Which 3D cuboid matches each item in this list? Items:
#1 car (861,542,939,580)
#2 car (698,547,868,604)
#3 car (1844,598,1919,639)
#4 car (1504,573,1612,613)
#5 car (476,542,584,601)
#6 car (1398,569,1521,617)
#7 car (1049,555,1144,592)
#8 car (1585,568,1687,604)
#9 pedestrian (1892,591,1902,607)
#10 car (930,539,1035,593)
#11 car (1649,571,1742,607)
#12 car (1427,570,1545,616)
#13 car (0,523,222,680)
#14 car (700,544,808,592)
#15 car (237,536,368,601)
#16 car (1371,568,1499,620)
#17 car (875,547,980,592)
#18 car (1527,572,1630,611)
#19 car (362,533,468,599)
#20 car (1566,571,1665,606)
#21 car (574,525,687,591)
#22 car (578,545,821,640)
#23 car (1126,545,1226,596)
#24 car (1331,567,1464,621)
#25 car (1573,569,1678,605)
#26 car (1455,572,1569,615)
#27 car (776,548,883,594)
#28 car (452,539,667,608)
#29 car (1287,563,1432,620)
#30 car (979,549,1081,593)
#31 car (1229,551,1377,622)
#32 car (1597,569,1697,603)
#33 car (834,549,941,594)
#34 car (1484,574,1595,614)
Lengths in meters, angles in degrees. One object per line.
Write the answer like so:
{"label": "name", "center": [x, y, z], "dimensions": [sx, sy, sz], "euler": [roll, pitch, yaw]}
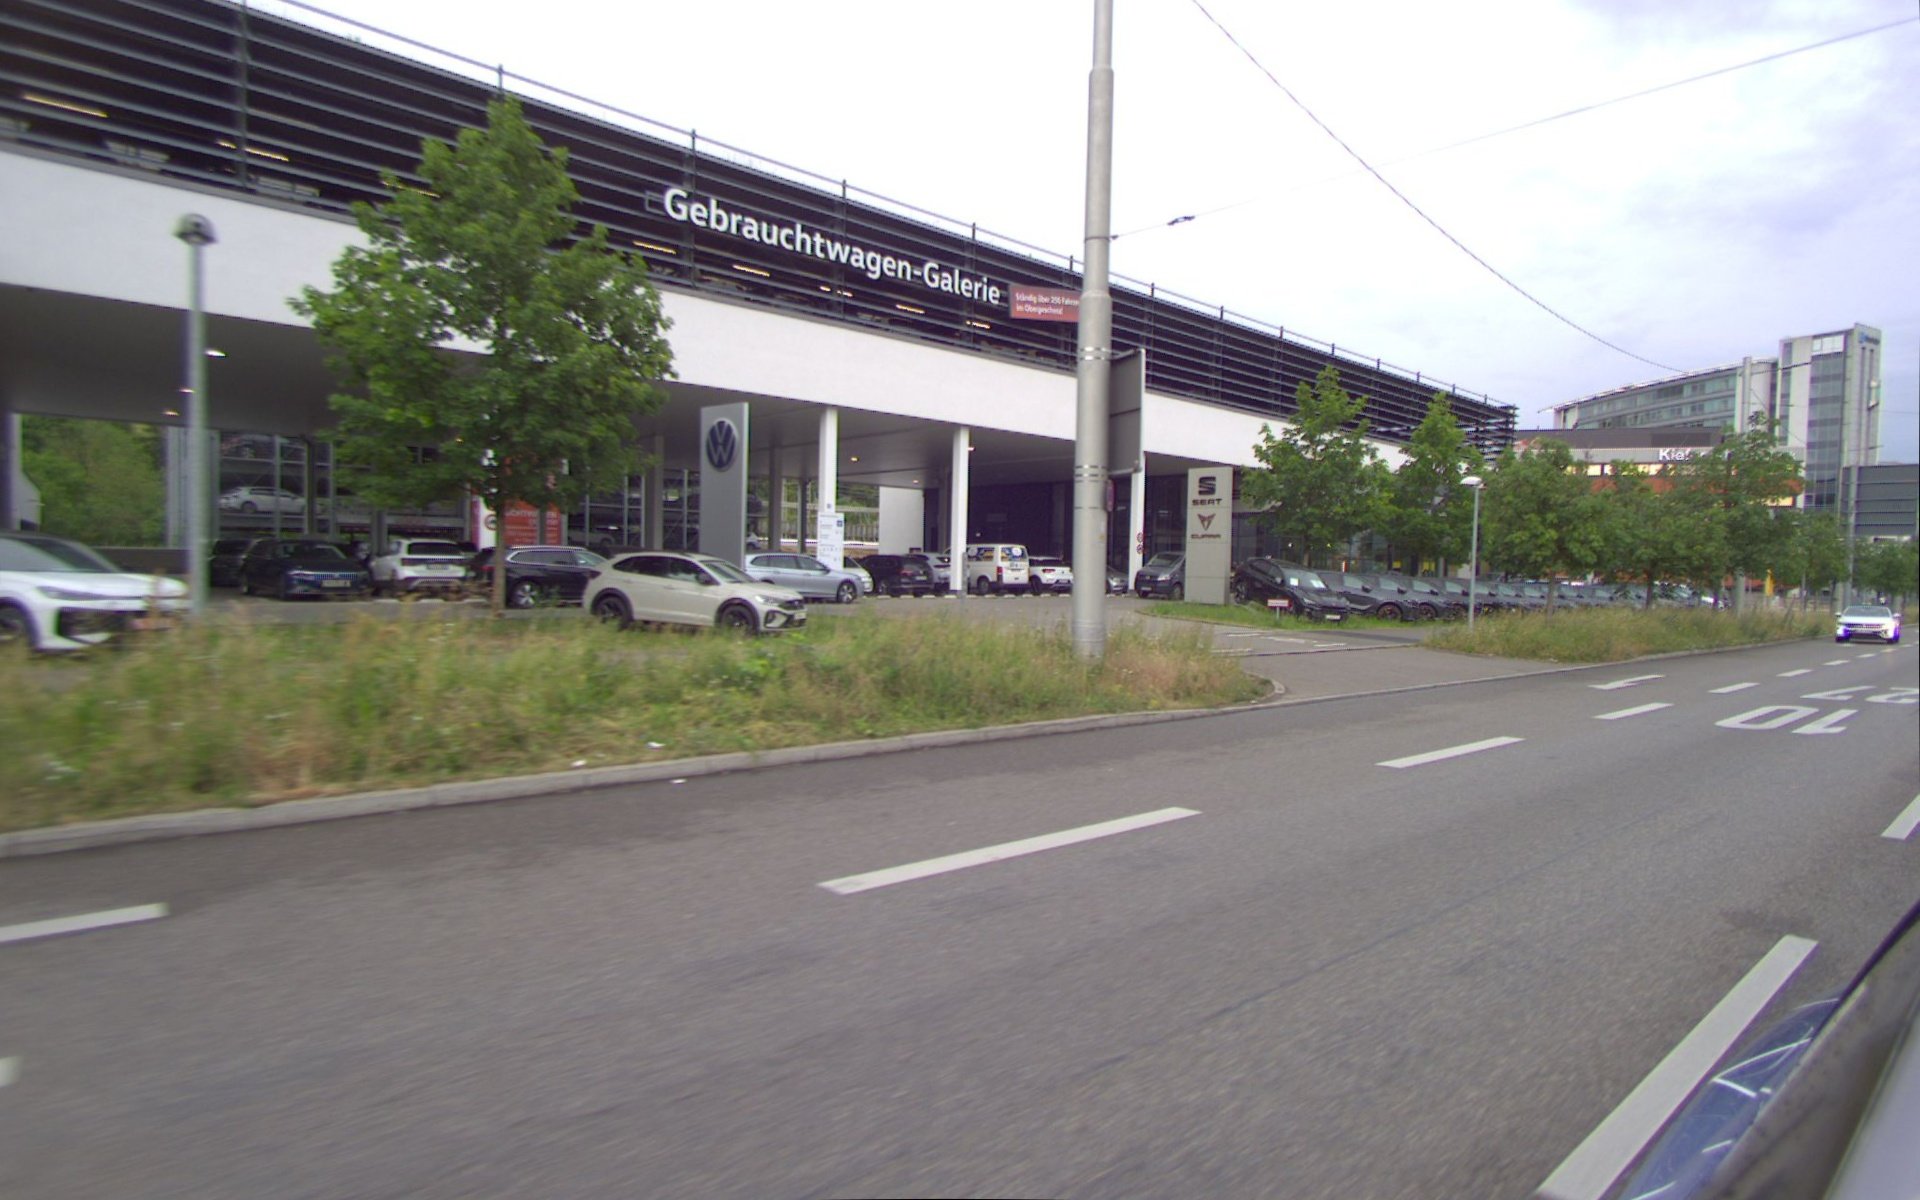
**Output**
{"label": "car", "center": [-3.382, -2.225, 57.085], "dimensions": [4.029, 2.038, 1.997], "euler": [-2, 4, -42]}
{"label": "car", "center": [-5.126, -0.744, 29.686], "dimensions": [4.616, 1.485, 1.897], "euler": [-1, 5, -42]}
{"label": "car", "center": [36.895, 0.714, 40.418], "dimensions": [3.769, 1.513, 1.877], "euler": [0, 1, -41]}
{"label": "car", "center": [27.528, -0.349, 46.734], "dimensions": [4.117, 1.552, 1.776], "euler": [4, 3, 29]}
{"label": "car", "center": [-11.981, -0.733, 28.043], "dimensions": [1.754, 1.527, 3.996], "euler": [0, 0, -39]}
{"label": "car", "center": [19.355, -0.319, 39.421], "dimensions": [4.109, 1.588, 1.812], "euler": [4, 3, 24]}
{"label": "car", "center": [6.049, -1.195, 45.121], "dimensions": [1.695, 1.532, 4.037], "euler": [0, 3, -43]}
{"label": "car", "center": [36.864, -0.791, 55.233], "dimensions": [4.477, 1.683, 1.797], "euler": [5, 4, 37]}
{"label": "pedestrian", "center": [110.644, -0.097, 119.496], "dimensions": [0.675, 1.925, 0.672], "euler": [0, 0, 27]}
{"label": "car", "center": [0.848, -1.380, 40.094], "dimensions": [1.911, 2.000, 4.034], "euler": [0, 3, -42]}
{"label": "car", "center": [46.539, -0.715, 64.133], "dimensions": [4.465, 2.015, 1.802], "euler": [4, 3, 31]}
{"label": "car", "center": [21.475, -0.337, 41.407], "dimensions": [4.117, 1.588, 1.890], "euler": [4, 3, 29]}
{"label": "car", "center": [-11.259, -0.089, 12.063], "dimensions": [4.038, 1.587, 1.794], "euler": [3, 4, 13]}
{"label": "car", "center": [-6.912, -1.087, 33.718], "dimensions": [1.734, 1.442, 3.994], "euler": [0, 3, -42]}
{"label": "car", "center": [-16.201, -0.808, 24.882], "dimensions": [3.812, 1.469, 1.709], "euler": [3, 3, 40]}
{"label": "car", "center": [17.486, -0.274, 37.407], "dimensions": [4.109, 1.624, 1.812], "euler": [4, 3, 24]}
{"label": "car", "center": [-1.292, -1.185, 38.534], "dimensions": [1.872, 1.555, 3.994], "euler": [0, 3, -42]}
{"label": "car", "center": [29.485, -0.438, 48.358], "dimensions": [4.023, 1.595, 1.715], "euler": [4, 3, 29]}
{"label": "car", "center": [-14.334, -0.927, 26.533], "dimensions": [1.610, 1.607, 3.823], "euler": [0, 3, -42]}
{"label": "car", "center": [33.422, -0.623, 51.649], "dimensions": [4.036, 1.519, 1.664], "euler": [5, 4, 37]}
{"label": "car", "center": [-9.671, -1.144, 29.492], "dimensions": [1.857, 1.750, 3.996], "euler": [0, 0, -39]}
{"label": "car", "center": [-4.808, -0.204, 18.787], "dimensions": [4.043, 1.483, 1.740], "euler": [3, 4, 16]}
{"label": "car", "center": [9.016, -1.206, 42.028], "dimensions": [4.355, 1.962, 1.889], "euler": [0, 2, -43]}
{"label": "car", "center": [15.311, -0.259, 35.575], "dimensions": [4.106, 1.580, 1.856], "euler": [4, 3, 23]}
{"label": "car", "center": [35.050, -0.732, 53.370], "dimensions": [4.477, 1.588, 1.797], "euler": [5, 4, 37]}
{"label": "car", "center": [23.492, -0.321, 43.207], "dimensions": [4.117, 1.546, 1.813], "euler": [4, 3, 29]}
{"label": "car", "center": [-4.598, -1.039, 35.311], "dimensions": [1.734, 1.442, 3.994], "euler": [0, 3, -42]}
{"label": "car", "center": [-9.811, -0.669, 25.032], "dimensions": [4.615, 1.485, 1.783], "euler": [-1, 5, -42]}
{"label": "car", "center": [13.233, -0.331, 33.764], "dimensions": [4.282, 1.632, 1.858], "euler": [4, 3, 20]}
{"label": "car", "center": [2.838, -1.220, 41.560], "dimensions": [1.872, 1.652, 3.994], "euler": [0, 3, -42]}
{"label": "car", "center": [10.461, -0.475, 31.306], "dimensions": [1.786, 1.899, 4.734], "euler": [2, 3, -18]}
{"label": "car", "center": [38.621, -0.805, 56.955], "dimensions": [4.481, 1.638, 1.795], "euler": [5, 4, 40]}
{"label": "car", "center": [-2.654, -1.043, 36.390], "dimensions": [1.734, 1.463, 3.994], "euler": [0, 3, -42]}
{"label": "car", "center": [25.616, -0.291, 44.859], "dimensions": [4.117, 1.476, 1.776], "euler": [4, 3, 29]}
